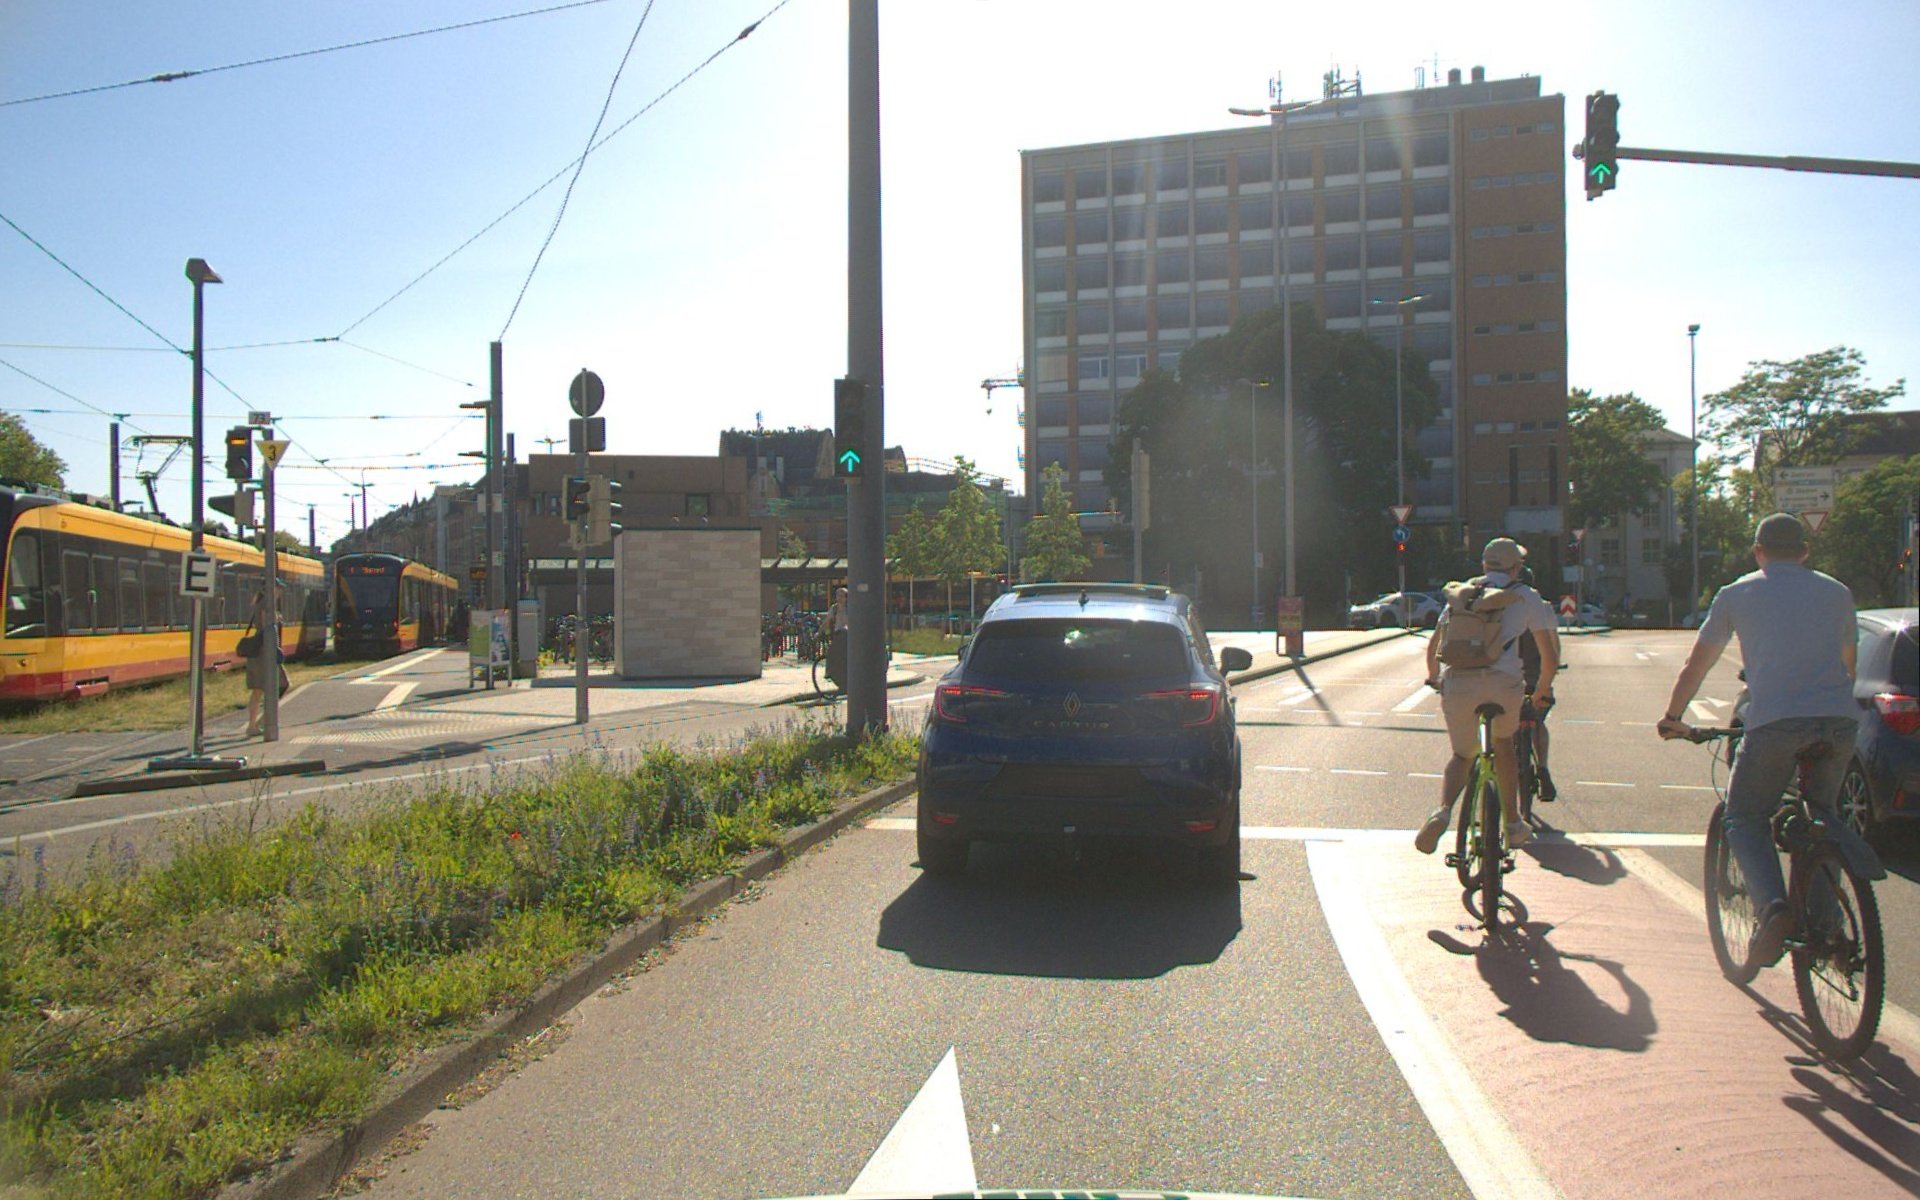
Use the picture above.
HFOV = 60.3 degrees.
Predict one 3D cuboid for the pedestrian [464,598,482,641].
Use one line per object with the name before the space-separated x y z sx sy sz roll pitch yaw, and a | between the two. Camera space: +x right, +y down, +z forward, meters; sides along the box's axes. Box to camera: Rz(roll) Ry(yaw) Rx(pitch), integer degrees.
pedestrian | -21.534 0.879 73.203 0.688 1.889 0.632 1 -2 -12

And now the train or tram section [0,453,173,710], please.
train or tram section | -15.747 -0.205 27.707 2.771 3.569 10.435 -1 0 -15

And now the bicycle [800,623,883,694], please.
bicycle | -1.913 0.932 27.000 0.756 1.099 2.037 -1 -1 13

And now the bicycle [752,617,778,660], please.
bicycle | -4.988 0.992 42.208 0.570 1.076 1.812 1 -2 -10

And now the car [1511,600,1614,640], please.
car | 30.317 1.030 83.241 4.569 1.933 1.994 -1 -2 34

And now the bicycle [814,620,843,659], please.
bicycle | -3.397 1.015 42.705 0.570 0.978 2.054 1 -1 -10

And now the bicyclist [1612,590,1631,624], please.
bicyclist | 35.973 0.386 89.969 0.840 1.879 0.850 -1 -2 29

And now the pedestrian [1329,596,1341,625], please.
pedestrian | 22.218 0.640 97.964 0.551 1.699 0.475 -1 -2 36

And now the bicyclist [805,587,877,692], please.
bicyclist | -1.937 0.637 26.991 0.861 1.673 1.061 -1 -1 13

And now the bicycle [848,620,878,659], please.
bicycle | -2.532 1.027 42.965 0.570 0.978 2.054 1 -1 -10

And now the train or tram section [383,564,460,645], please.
train or tram section | -25.492 0.224 78.667 2.823 3.569 10.501 0 0 -15

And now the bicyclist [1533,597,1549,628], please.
bicyclist | 34.062 0.732 97.030 0.863 1.829 1.161 0 -2 19

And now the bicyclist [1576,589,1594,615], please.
bicyclist | 35.317 0.102 93.439 0.809 1.469 0.613 0 0 -33

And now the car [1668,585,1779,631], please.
car | 35.489 0.380 76.902 4.564 2.049 1.996 0 -2 30

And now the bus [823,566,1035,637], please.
bus | -1.796 0.161 86.425 12.211 3.455 2.868 -1 -2 39

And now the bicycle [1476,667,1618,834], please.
bicycle | 4.042 0.996 11.504 0.707 0.976 1.885 1 0 13

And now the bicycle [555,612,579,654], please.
bicycle | -10.763 0.902 45.336 0.556 1.113 2.023 1 -2 -11

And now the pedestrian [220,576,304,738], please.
pedestrian | -8.371 0.661 19.861 0.887 1.882 0.759 -1 2 -22

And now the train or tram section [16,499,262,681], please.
train or tram section | -18.337 -0.156 37.775 2.769 3.569 10.571 0 0 -14

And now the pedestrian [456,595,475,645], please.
pedestrian | -18.788 0.781 62.886 0.593 1.889 0.792 1 -2 -12

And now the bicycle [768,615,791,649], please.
bicycle | -6.079 1.078 55.694 0.570 1.107 1.866 1 -2 -12

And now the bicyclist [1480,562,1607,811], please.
bicyclist | 4.065 0.573 11.591 0.706 1.654 1.056 1 0 13

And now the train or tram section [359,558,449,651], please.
train or tram section | -22.859 0.209 68.430 2.823 3.569 10.501 0 0 -15

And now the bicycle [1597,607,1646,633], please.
bicycle | 35.979 1.069 89.952 2.405 1.394 0.849 0 -2 30

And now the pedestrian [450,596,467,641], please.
pedestrian | -21.117 0.795 69.626 0.623 1.889 0.699 1 -2 -20

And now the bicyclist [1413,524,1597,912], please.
bicyclist | 2.647 0.544 8.122 0.649 1.778 1.006 0 0 6

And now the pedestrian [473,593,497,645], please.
pedestrian | -17.803 0.714 62.003 0.833 1.916 0.757 1 -2 -17

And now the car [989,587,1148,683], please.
car | 1.992 0.576 29.212 1.762 1.417 4.095 -1 2 19

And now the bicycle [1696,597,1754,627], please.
bicycle | 40.137 0.623 86.855 2.745 1.568 0.884 0 -2 24

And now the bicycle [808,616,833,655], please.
bicycle | -4.079 1.033 48.334 0.570 1.107 2.054 1 -1 -10

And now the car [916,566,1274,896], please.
car | 0.882 0.658 10.170 1.784 1.628 3.661 1 0 7

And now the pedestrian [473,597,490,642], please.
pedestrian | -20.365 0.820 70.435 0.621 1.889 0.701 1 -2 -12

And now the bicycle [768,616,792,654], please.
bicycle | -5.262 1.023 48.237 0.570 1.107 2.054 1 -1 -10

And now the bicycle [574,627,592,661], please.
bicycle | -10.732 1.247 47.052 0.415 0.954 1.300 1 -1 -16

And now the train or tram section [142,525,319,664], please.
train or tram section | -20.934 -0.089 48.168 2.769 3.569 11.168 0 0 -14

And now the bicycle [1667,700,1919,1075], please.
bicycle | 3.151 0.977 6.224 0.598 1.096 1.831 0 0 14

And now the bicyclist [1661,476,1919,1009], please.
bicyclist | 3.100 0.484 6.170 0.733 1.807 1.015 0 -1 14

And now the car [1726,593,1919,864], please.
car | 6.583 0.775 11.255 1.718 1.569 3.661 0 -1 12

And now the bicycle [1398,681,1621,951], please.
bicycle | 2.657 0.993 8.198 0.648 1.065 1.891 0 0 6

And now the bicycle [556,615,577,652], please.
bicycle | -12.265 1.046 51.610 0.556 1.113 2.023 1 -2 -11

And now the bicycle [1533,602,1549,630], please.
bicycle | 34.057 0.954 97.032 0.863 1.568 2.811 0 -2 19

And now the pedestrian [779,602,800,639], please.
pedestrian | -8.327 1.011 80.818 0.614 1.772 0.785 -1 -2 36

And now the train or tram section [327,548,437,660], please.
train or tram section | -20.224 0.155 58.368 2.823 3.569 10.501 0 0 -15

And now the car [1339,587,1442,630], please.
car | 18.310 0.360 70.326 4.194 1.596 1.804 -2 -1 -31

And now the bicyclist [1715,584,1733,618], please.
bicyclist | 40.137 0.052 86.866 0.841 1.722 0.884 0 -2 24

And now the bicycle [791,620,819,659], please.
bicycle | -3.996 1.008 42.605 0.570 0.978 2.054 1 -1 -10

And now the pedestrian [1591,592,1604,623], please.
pedestrian | 34.293 0.404 88.919 0.551 1.699 0.475 -1 -2 36
